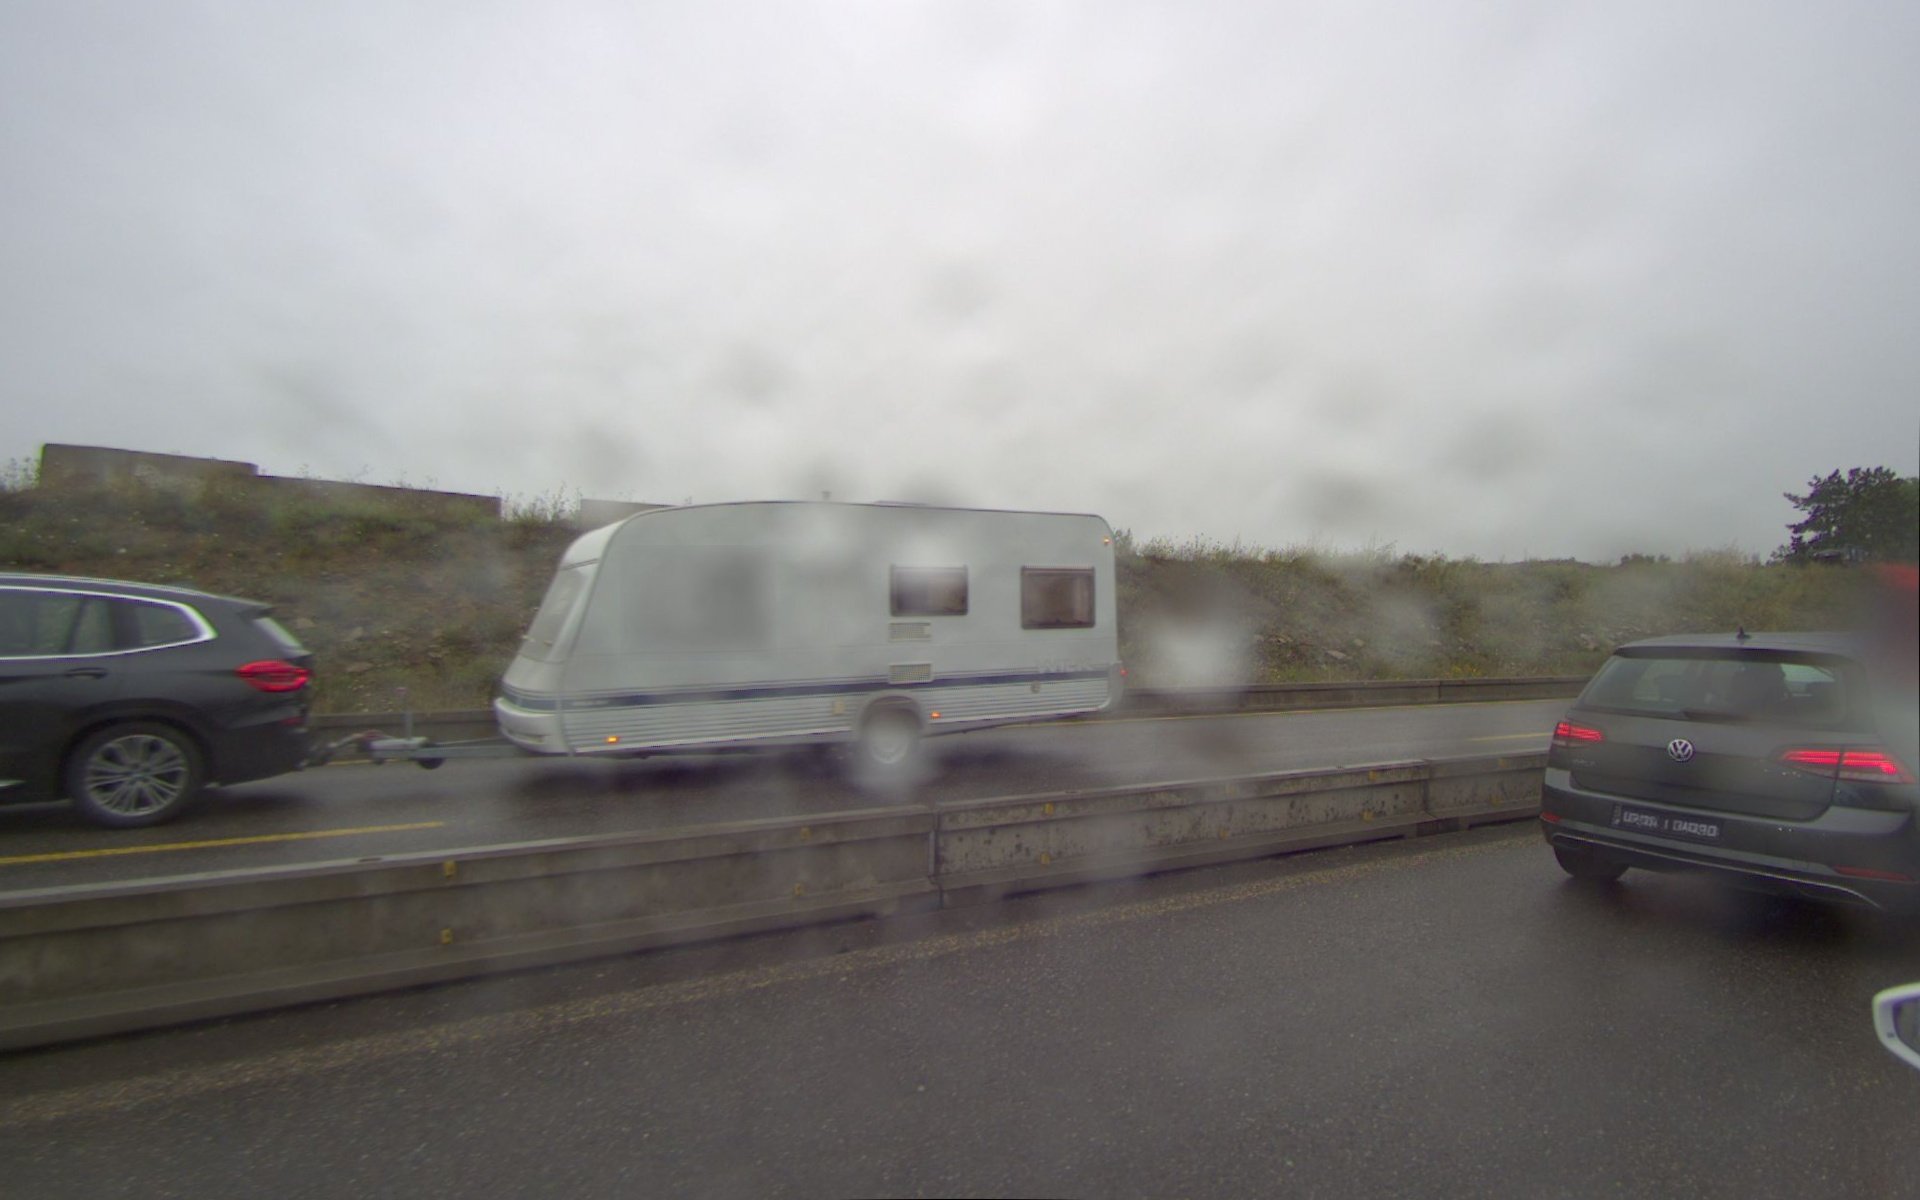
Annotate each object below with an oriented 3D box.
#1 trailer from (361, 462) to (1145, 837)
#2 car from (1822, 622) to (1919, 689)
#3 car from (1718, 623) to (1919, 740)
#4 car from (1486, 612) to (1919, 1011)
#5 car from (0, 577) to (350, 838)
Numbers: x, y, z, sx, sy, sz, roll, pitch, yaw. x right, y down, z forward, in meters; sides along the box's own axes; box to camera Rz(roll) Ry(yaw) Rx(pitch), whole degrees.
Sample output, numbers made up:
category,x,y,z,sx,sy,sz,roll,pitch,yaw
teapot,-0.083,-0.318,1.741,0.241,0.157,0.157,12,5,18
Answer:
category,x,y,z,sx,sy,sz,roll,pitch,yaw
trailer,-1.722,0.395,9.871,7.079,2.599,2.497,1,0,-31
car,23.002,1.315,24.336,4.615,1.463,1.760,2,-1,-30
car,14.051,1.170,15.820,4.283,1.520,1.868,0,1,-30
car,5.022,0.894,5.654,4.317,1.526,1.607,2,-3,-30
car,-7.052,0.639,6.662,5.059,1.608,1.984,1,0,-31
